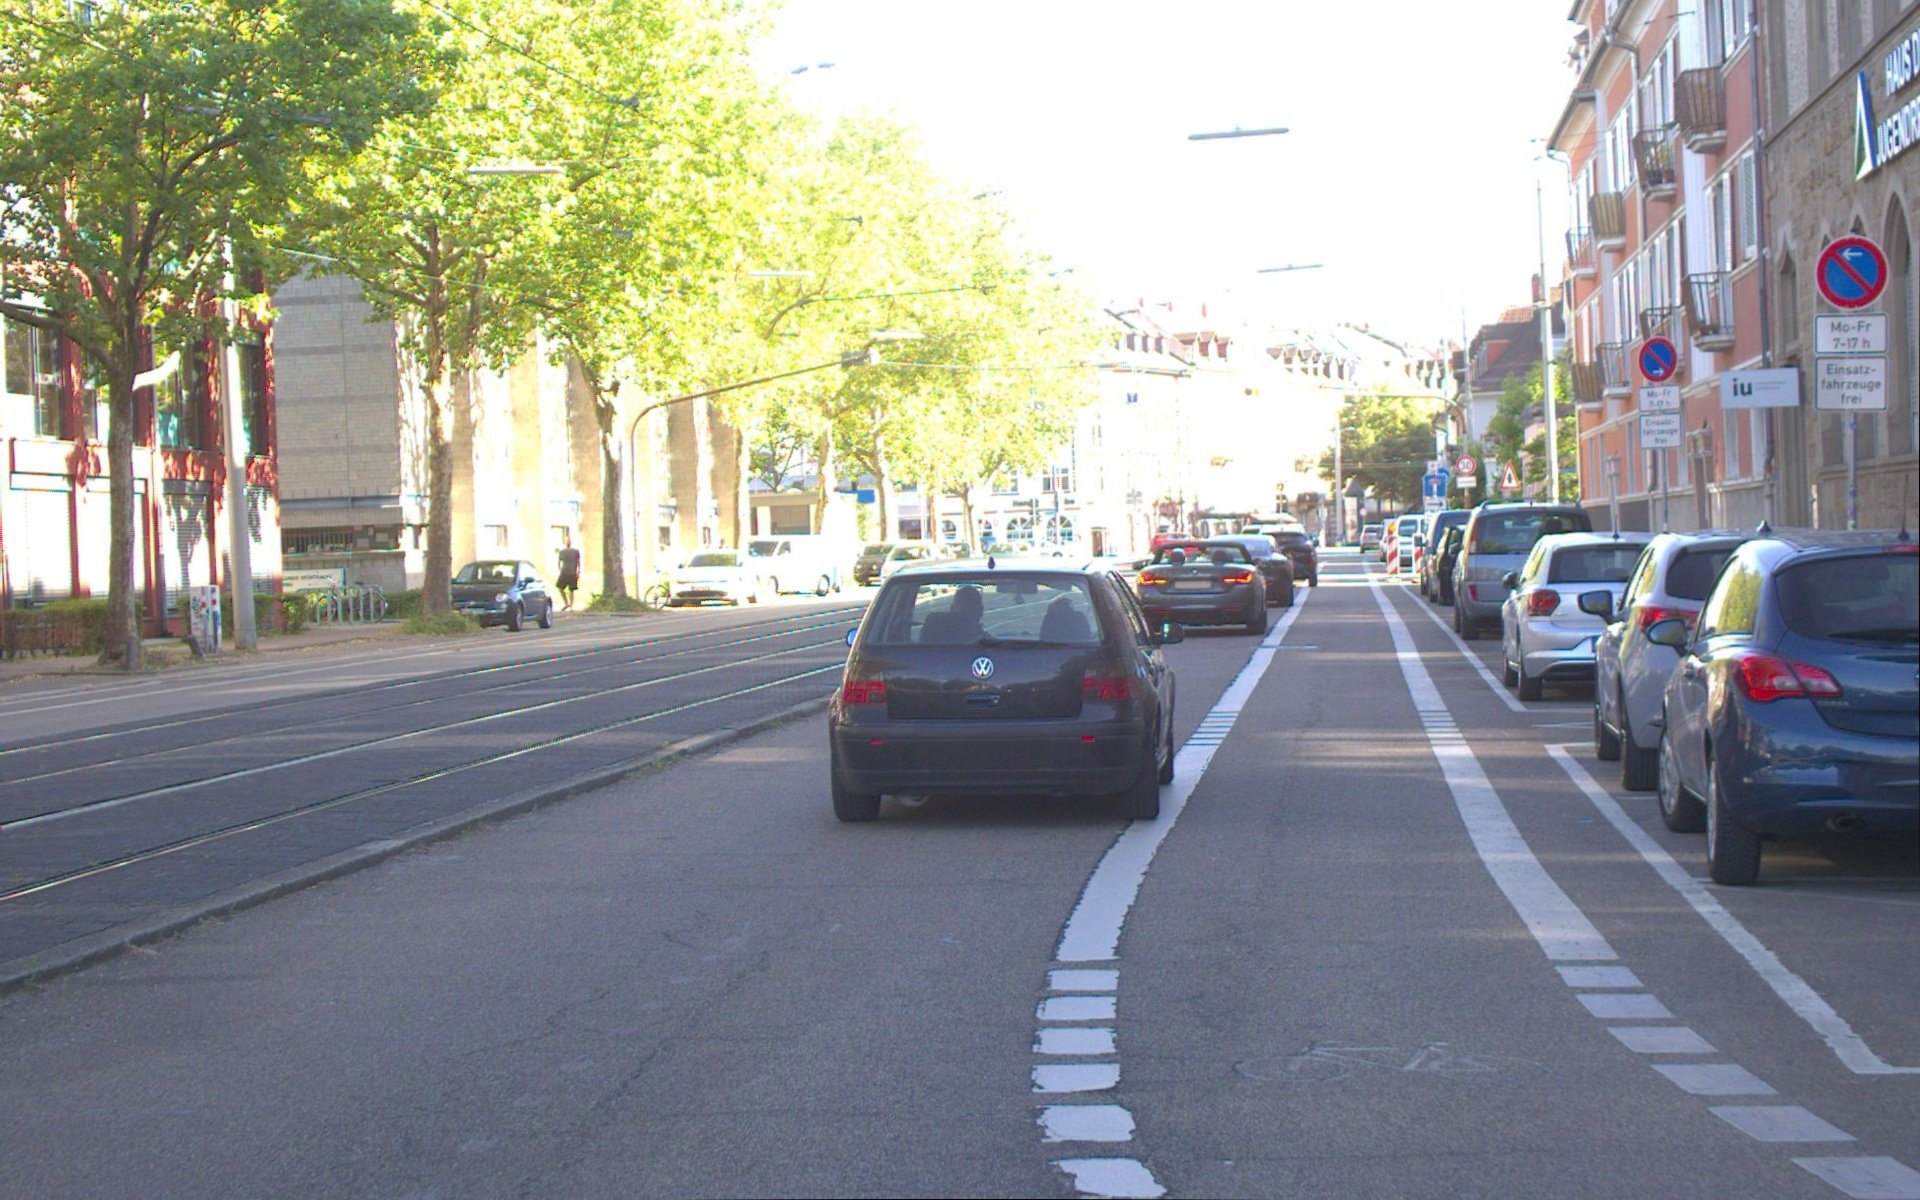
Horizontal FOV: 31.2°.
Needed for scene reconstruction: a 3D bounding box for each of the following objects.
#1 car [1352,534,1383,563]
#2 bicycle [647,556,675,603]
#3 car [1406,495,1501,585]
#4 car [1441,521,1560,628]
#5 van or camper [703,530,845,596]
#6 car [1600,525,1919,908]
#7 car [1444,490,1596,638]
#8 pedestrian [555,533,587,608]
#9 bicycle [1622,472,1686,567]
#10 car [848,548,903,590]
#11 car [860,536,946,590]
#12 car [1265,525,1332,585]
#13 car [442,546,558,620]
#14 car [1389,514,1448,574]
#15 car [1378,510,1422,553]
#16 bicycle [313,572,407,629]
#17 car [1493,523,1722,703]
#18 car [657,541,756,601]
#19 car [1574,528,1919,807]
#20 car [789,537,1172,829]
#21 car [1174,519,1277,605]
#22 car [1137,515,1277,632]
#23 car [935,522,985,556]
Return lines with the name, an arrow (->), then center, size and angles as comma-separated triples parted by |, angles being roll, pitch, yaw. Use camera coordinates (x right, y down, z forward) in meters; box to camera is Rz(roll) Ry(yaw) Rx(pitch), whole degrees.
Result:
car -> 22.778, -2.904, 192.333 | 1.668, 1.592, 3.649 | -1, 1, 7
bicycle -> -7.800, -0.537, 89.737 | 0.581, 1.204, 1.654 | 0, 2, 0
car -> 10.499, -1.282, 73.378 | 1.703, 1.804, 4.271 | -2, 1, 5
car -> 7.901, -0.399, 50.438 | 1.632, 1.506, 3.716 | 0, 1, 8
van or camper -> -5.666, -1.172, 105.516 | 2.063, 1.943, 5.182 | 1, 2, 26
car -> 3.852, 0.413, 15.277 | 1.655, 1.477, 3.999 | -1, 1, 6
car -> 7.414, -0.501, 45.825 | 1.753, 1.849, 4.814 | -1, 1, 7
pedestrian -> -9.704, -0.744, 85.772 | 0.784, 1.863, 0.671 | 0, 1, -8
bicycle -> 8.760, -1.022, 43.439 | 0.515, 1.136, 2.258 | -3, 1, 6
car -> -3.170, -1.167, 129.534 | 1.570, 1.528, 3.571 | -1, 0, 7
car -> -1.717, -1.154, 104.889 | 1.753, 1.513, 4.069 | -3, 1, 11
car -> 8.766, -1.182, 88.838 | 1.636, 1.467, 3.728 | -1, 1, 7
car -> -9.482, -0.345, 71.112 | 1.507, 1.449, 3.462 | -1, 0, 7
car -> 14.500, -1.788, 108.801 | 1.759, 1.831, 3.547 | 0, 2, 6
car -> 19.301, -3.004, 150.882 | 1.818, 1.793, 3.999 | -1, 1, 7
bicycle -> -13.634, 0.008, 78.138 | 2.009, 1.274, 0.664 | 0, 1, 7
car -> 5.743, 0.058, 30.888 | 1.714, 1.495, 4.225 | 0, 1, 7
car -> -6.985, -0.815, 95.249 | 2.012, 1.567, 4.693 | 0, 2, 5
car -> 4.687, 0.319, 20.756 | 1.753, 1.495, 4.195 | 0, 1, 8
car -> 0.218, 0.379, 19.008 | 1.749, 1.370, 4.000 | -2, 1, 5
car -> 5.109, -0.755, 65.728 | 1.749, 1.532, 3.891 | -2, 1, 7
car -> 3.548, -0.407, 48.842 | 1.749, 1.532, 3.891 | -2, 1, 7
car -> 0.006, -2.761, 155.135 | 1.793, 1.460, 3.835 | 1, 1, 6
